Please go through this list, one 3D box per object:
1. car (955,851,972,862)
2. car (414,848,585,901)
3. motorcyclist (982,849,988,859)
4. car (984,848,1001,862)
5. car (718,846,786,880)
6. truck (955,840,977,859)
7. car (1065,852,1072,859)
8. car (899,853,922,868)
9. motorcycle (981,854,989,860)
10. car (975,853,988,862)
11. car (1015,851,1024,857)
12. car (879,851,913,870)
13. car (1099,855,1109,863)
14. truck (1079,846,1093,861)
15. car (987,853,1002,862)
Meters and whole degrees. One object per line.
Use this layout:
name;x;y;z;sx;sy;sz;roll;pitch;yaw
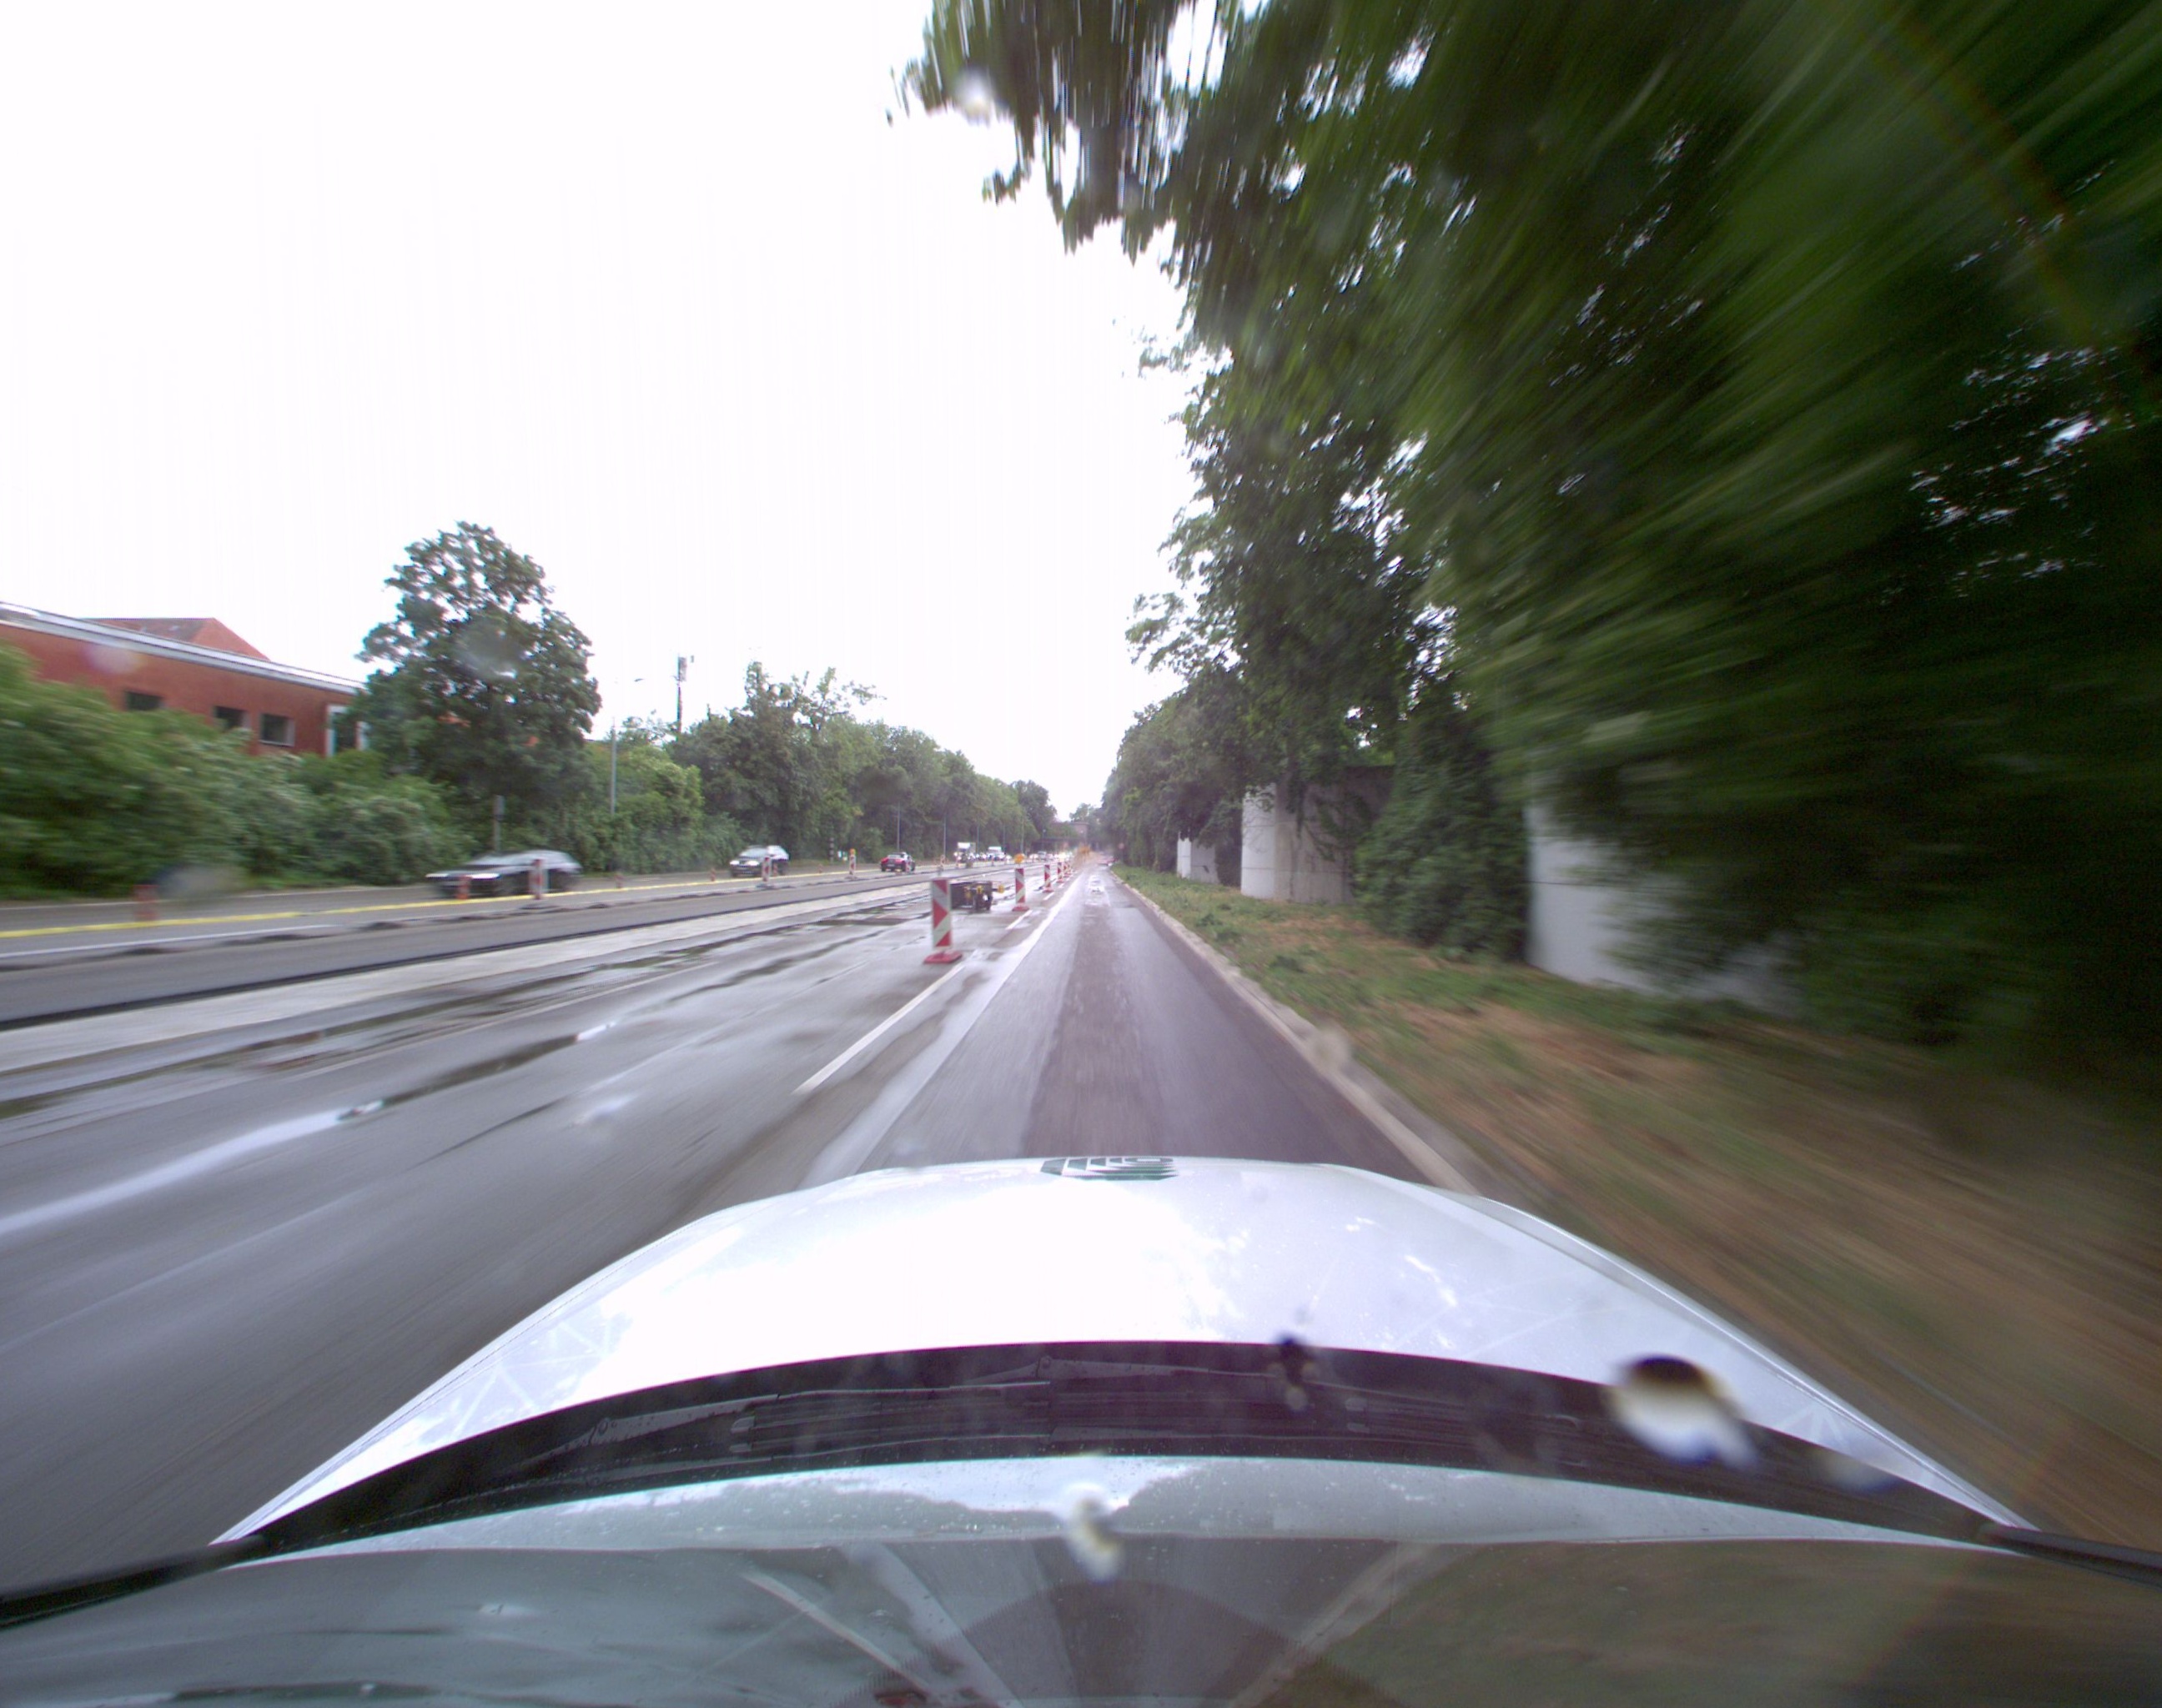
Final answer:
car;-16.415;0.347;114.156;1.664;1.415;4.320;1;0;0
car;-17.913;0.588;25.446;1.754;1.483;4.900;0;0;0
motorcyclist;-15.080;-0.056;127.842;0.825;1.564;0.927;2;0;1
car;-16.444;0.199;151.918;2.091;2.579;6.857;1;0;2
car;-17.695;0.447;44.022;1.729;1.722;4.494;1;0;1
truck;-18.072;-0.664;128.409;2.237;2.940;6.939;1;0;2
car;-3.373;0.362;224.757;1.663;1.808;4.323;1;1;2
car;-15.983;0.613;76.408;1.444;1.332;3.859;0;0;-1
motorcycle;-15.091;0.442;127.857;0.825;1.014;2.367;2;0;1
car;-17.507;0.653;143.501;1.663;1.485;4.322;1;0;2
car;-14.573;0.036;192.343;1.663;1.485;4.322;1;0;2
car;-14.102;0.497;62.285;1.602;1.404;4.040;1;0;0
car;4.081;0.793;142.712;1.691;1.336;3.492;-2;0;1
truck;1.244;-0.123;202.448;3.248;3.497;13.873;1;0;1
car;-15.147;0.653;143.046;1.952;1.531;4.439;1;0;2
